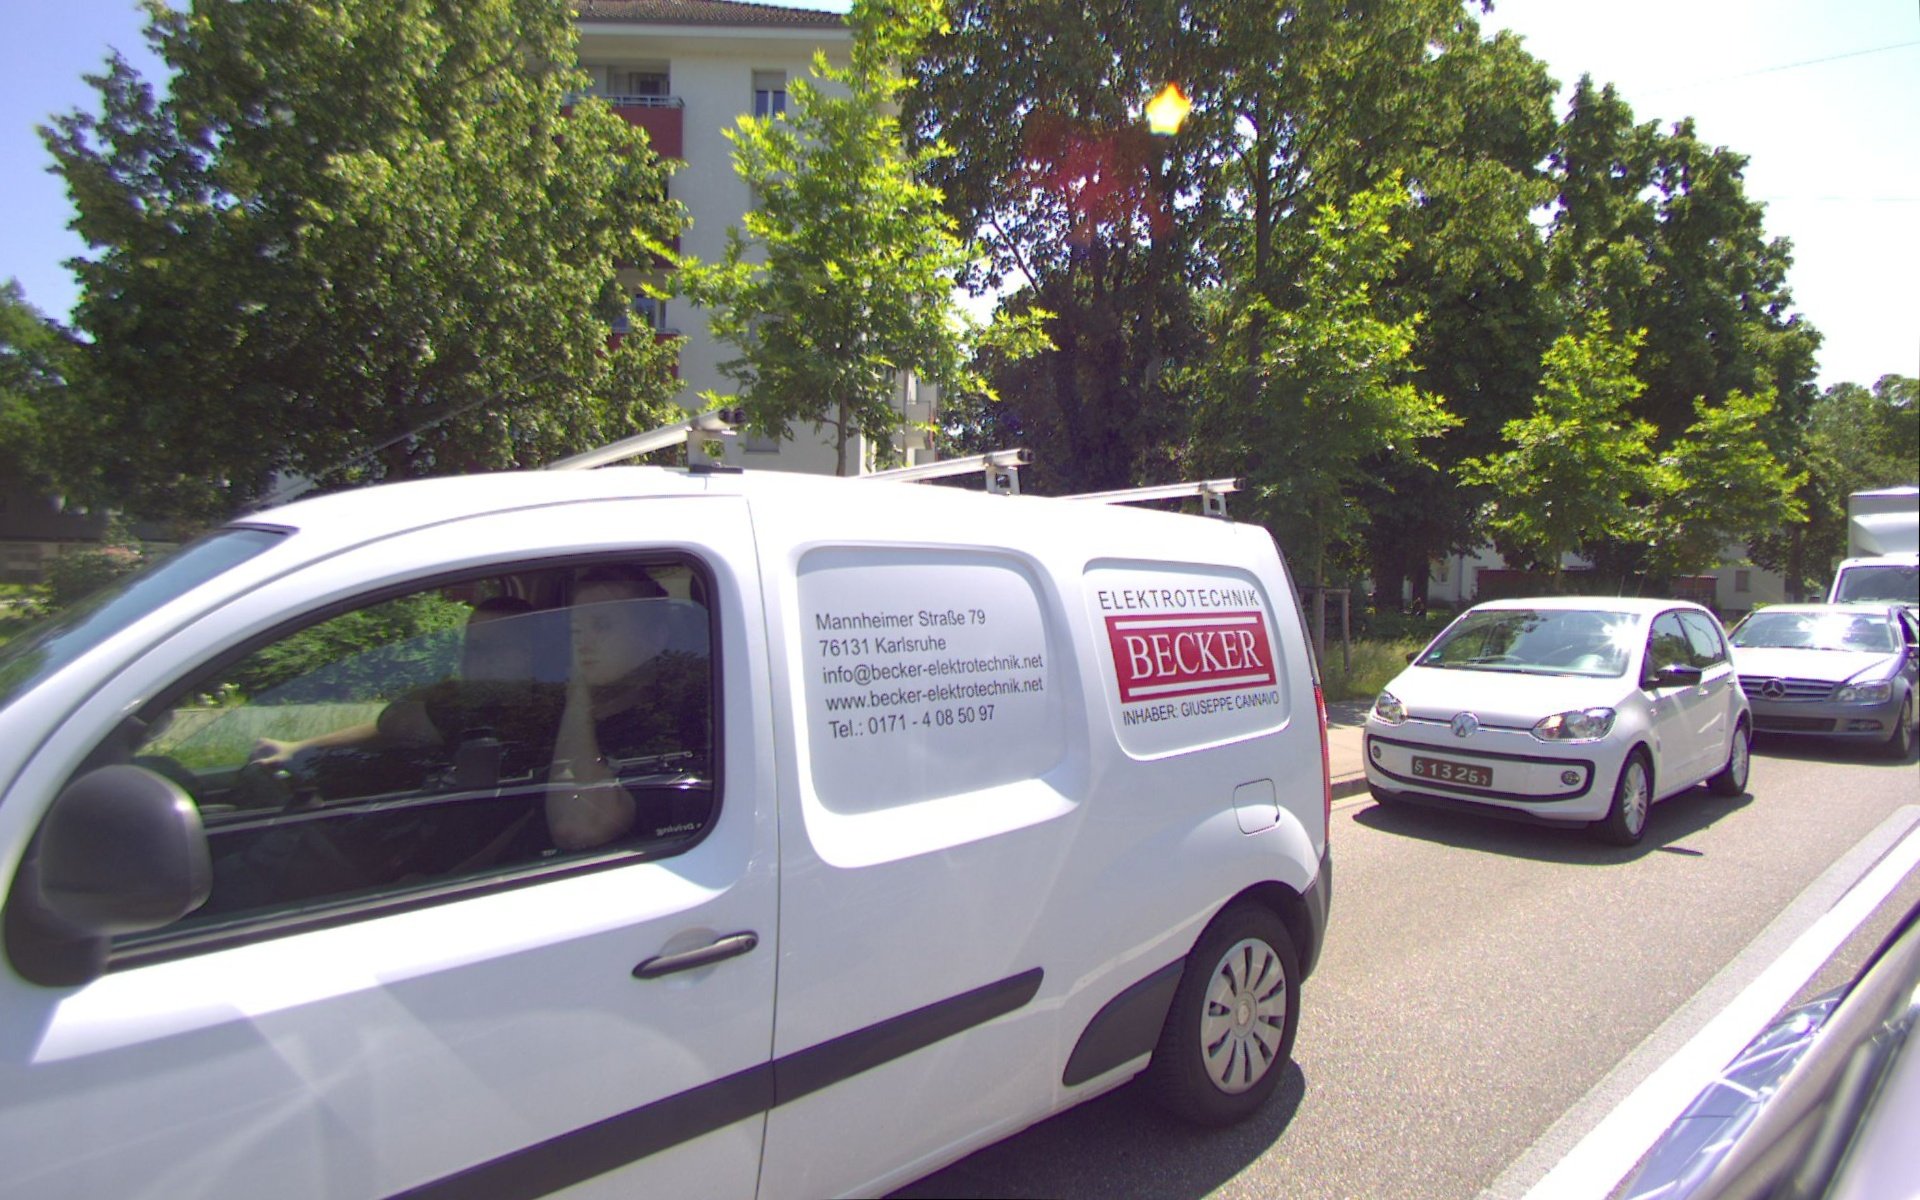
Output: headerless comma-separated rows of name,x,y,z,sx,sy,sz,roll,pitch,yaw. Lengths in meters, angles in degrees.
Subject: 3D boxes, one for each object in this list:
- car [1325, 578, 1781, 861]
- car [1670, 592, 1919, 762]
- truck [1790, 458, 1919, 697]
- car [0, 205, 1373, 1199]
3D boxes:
car,4.395,0.624,7.288,3.705,1.497,1.729,0,1,-41
car,9.228,0.657,10.738,4.016,1.426,1.839,0,1,-41
truck,16.512,-0.335,16.972,7.778,3.387,2.434,0,1,-39
car,-0.998,0.457,2.534,4.370,1.849,1.997,0,1,-41
